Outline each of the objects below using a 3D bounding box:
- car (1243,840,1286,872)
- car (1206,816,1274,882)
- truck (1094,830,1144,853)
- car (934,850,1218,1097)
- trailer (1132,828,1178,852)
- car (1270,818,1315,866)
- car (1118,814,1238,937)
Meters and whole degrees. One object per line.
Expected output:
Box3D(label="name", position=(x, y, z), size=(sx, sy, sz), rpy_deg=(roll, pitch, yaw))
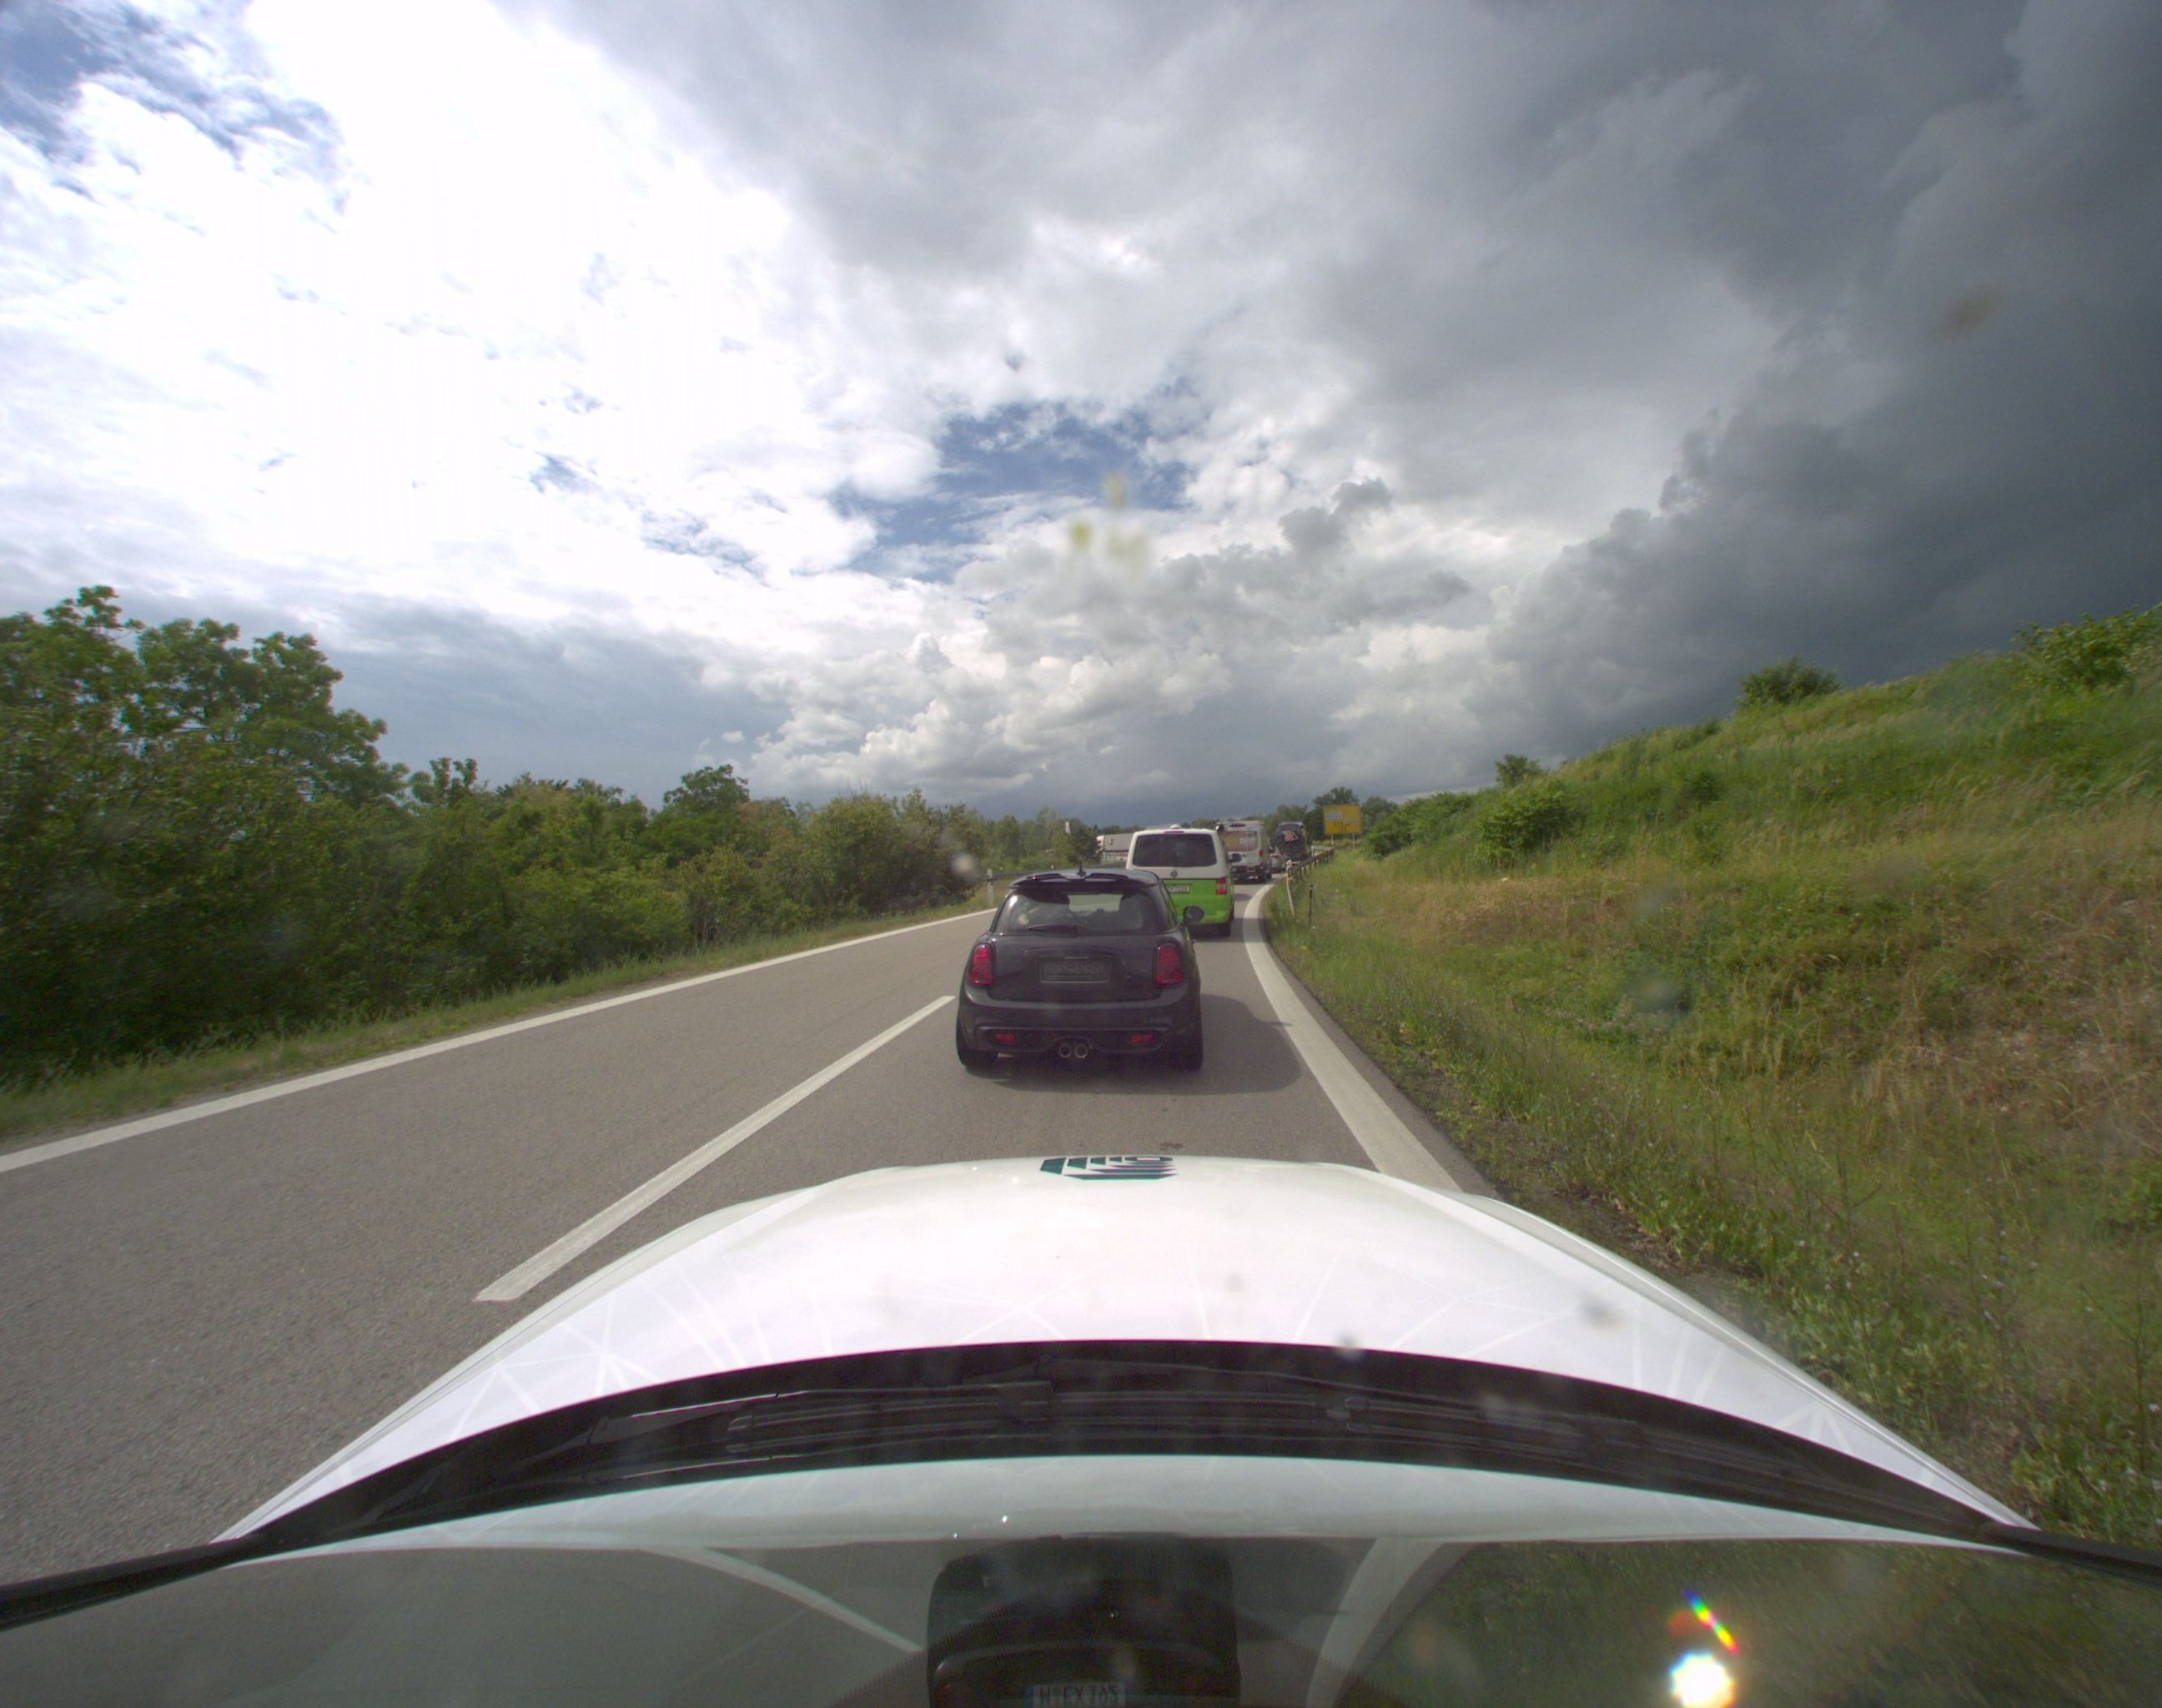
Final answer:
Box3D(label="car", position=(10.013, 0.109, 44.258), size=(1.978, 1.642, 3.946), rpy_deg=(-1, -1, 17))
Box3D(label="car", position=(6.925, -0.175, 34.957), size=(2.194, 2.622, 5.559), rpy_deg=(-1, -1, 18))
Box3D(label="truck", position=(6.845, -2.228, 148.307), size=(2.861, 3.976, 9.907), rpy_deg=(0, -1, -44))
Box3D(label="car", position=(0.152, 0.751, 7.035), size=(1.790, 1.546, 3.745), rpy_deg=(-1, 0, 6))
Box3D(label="trailer", position=(12.757, -2.317, 141.108), size=(3.058, 3.898, 8.680), rpy_deg=(0, -1, -34))
Box3D(label="car", position=(14.580, -0.745, 55.791), size=(2.291, 3.069, 6.696), rpy_deg=(-1, -1, 21))
Box3D(label="car", position=(2.012, 0.376, 15.796), size=(1.898, 2.045, 4.195), rpy_deg=(-1, 0, 12))
